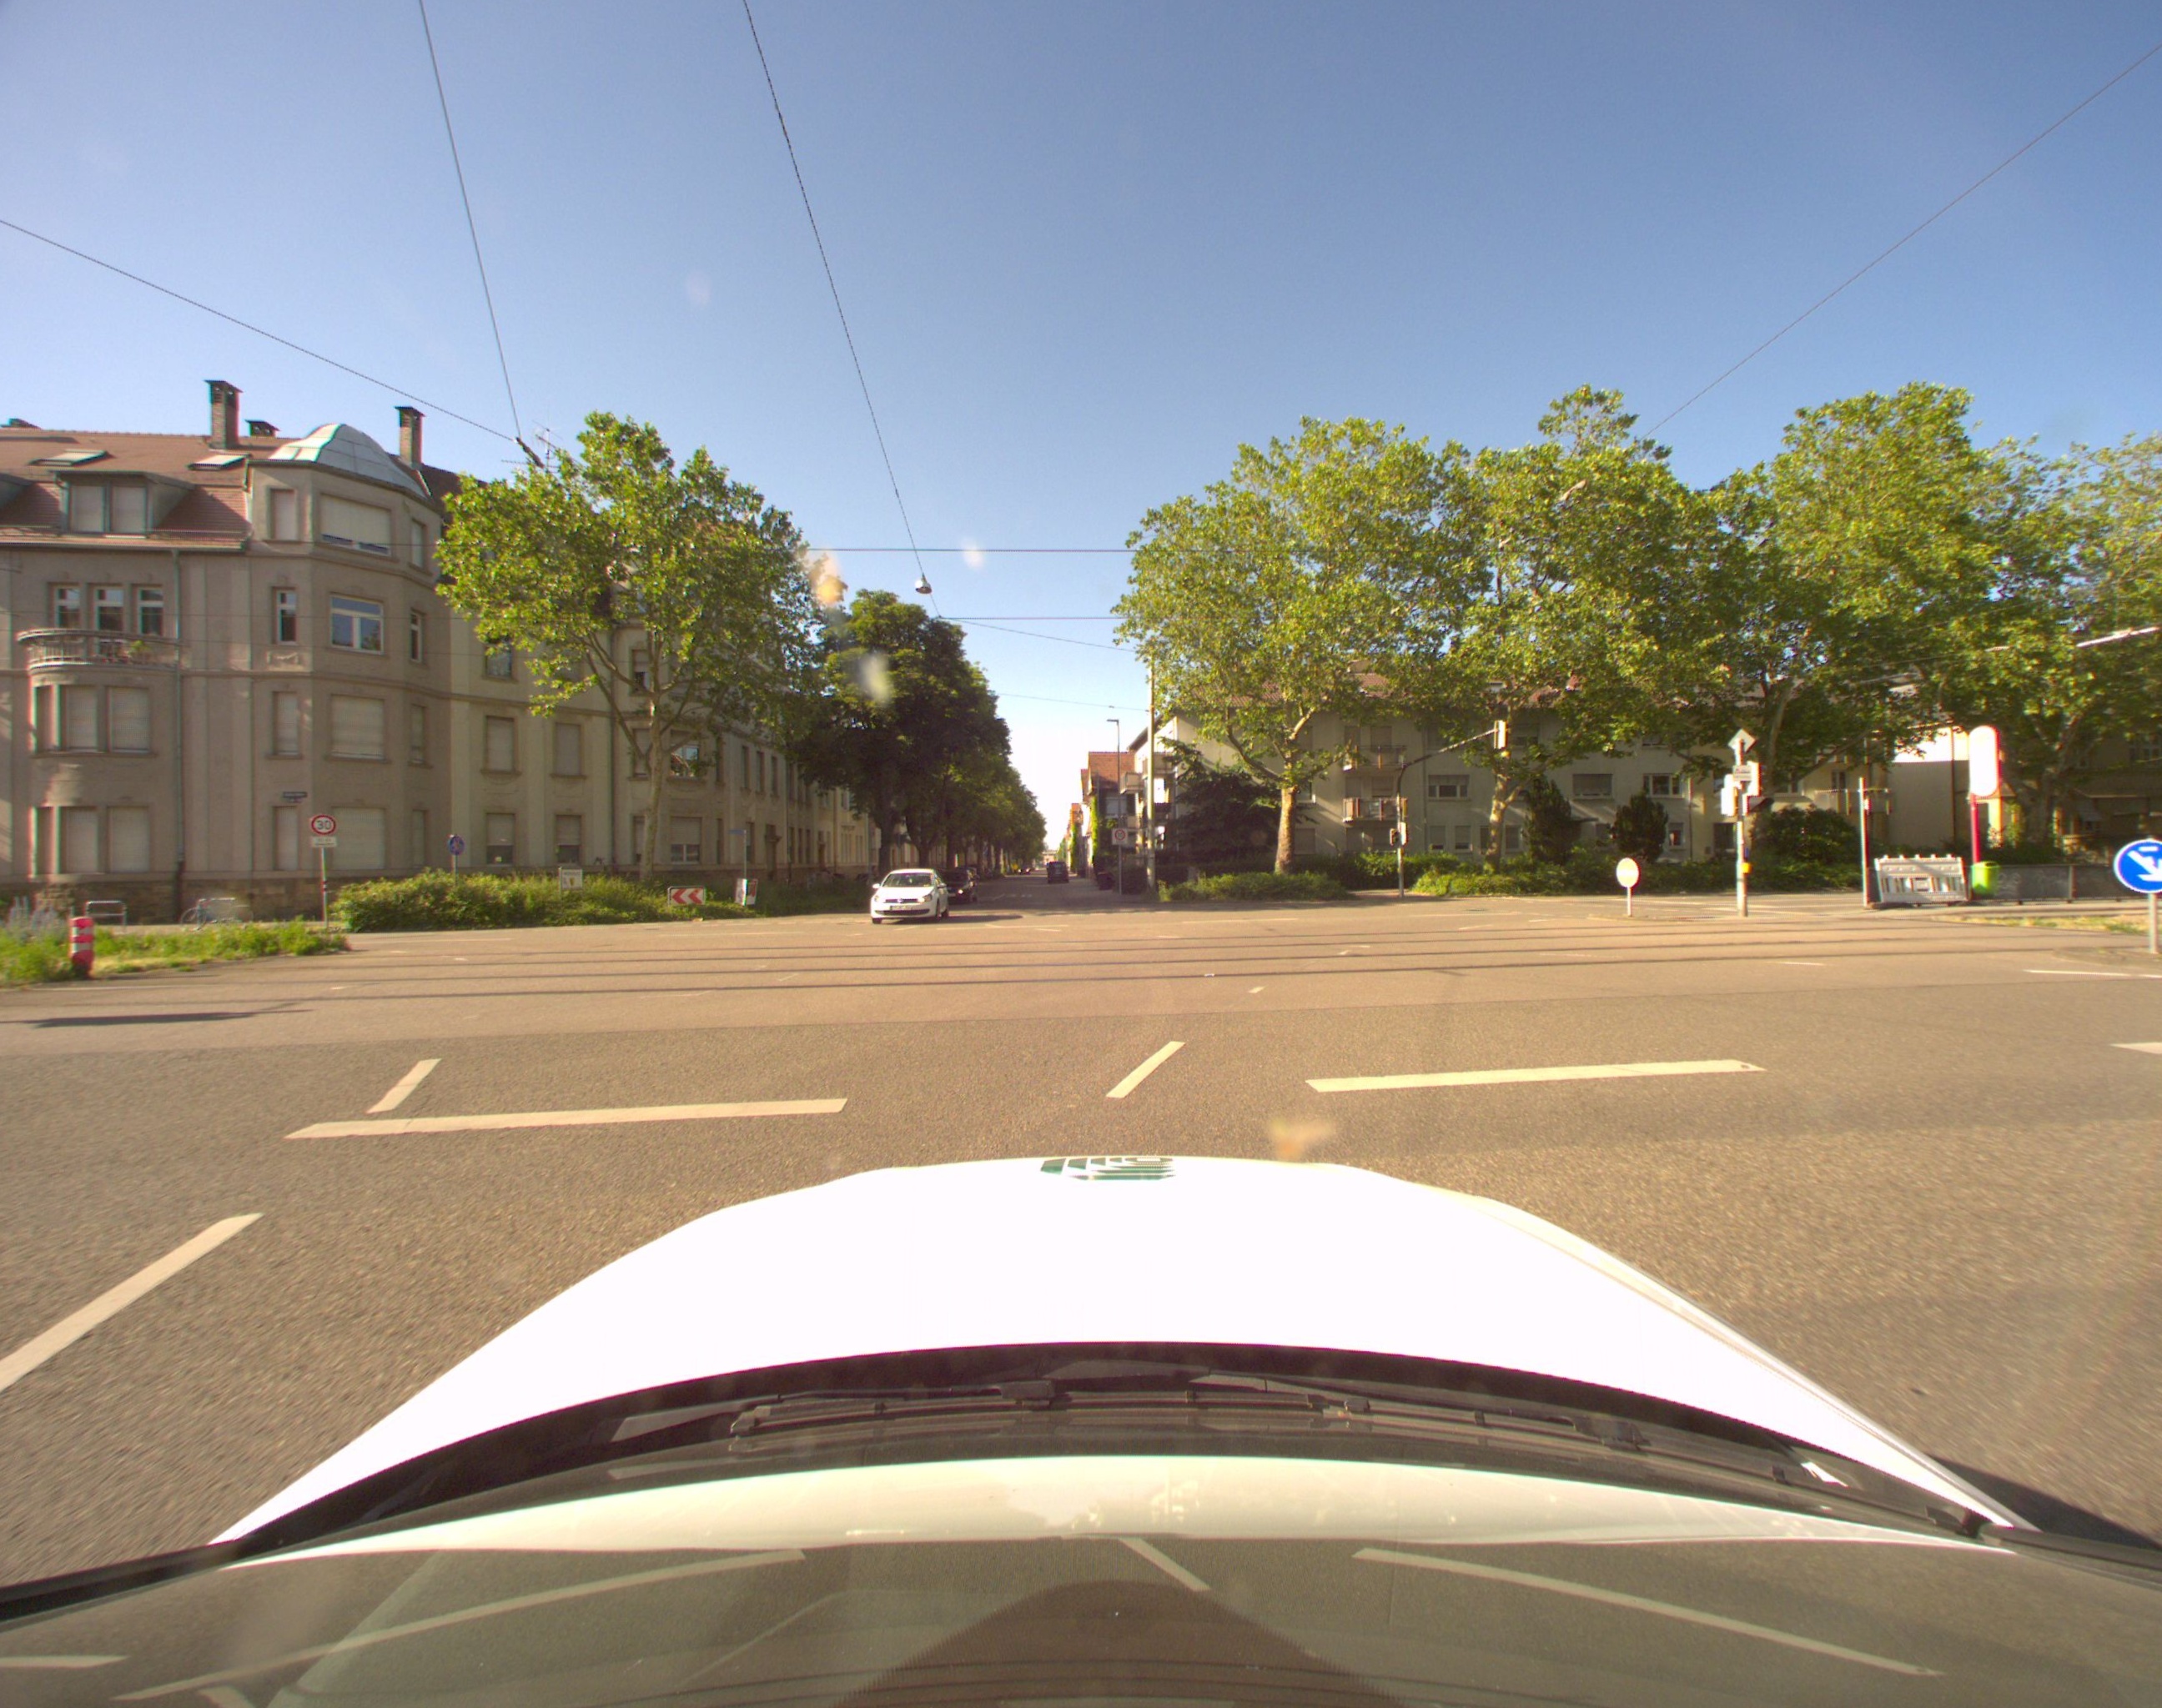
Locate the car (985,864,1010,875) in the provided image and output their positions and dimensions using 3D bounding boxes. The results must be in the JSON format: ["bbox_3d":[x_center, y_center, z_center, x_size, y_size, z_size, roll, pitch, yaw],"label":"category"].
[{"bbox_3d":[-13.346,2.509,129.956,3.982,1.761,1.794,1,-2,-6],"label":"car"}]

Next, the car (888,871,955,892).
[{"bbox_3d":[-10.619,1.841,54.500,4.202,1.349,1.701,0,-2,-3],"label":"car"}]

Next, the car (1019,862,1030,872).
[{"bbox_3d":[-8.857,2.096,127.757,1.637,1.508,3.698,-2,-1,-3],"label":"car"}]

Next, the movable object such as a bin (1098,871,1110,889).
[{"bbox_3d":[1.414,1.627,50.319,0.596,1.044,0.706,-5,-1,-5],"label":"movable object such as a bin"}]

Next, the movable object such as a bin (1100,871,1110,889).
[{"bbox_3d":[1.515,1.627,51.234,0.482,1.044,0.656,-5,-1,-5],"label":"movable object such as a bin"}]

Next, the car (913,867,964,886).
[{"bbox_3d":[-11.980,1.909,68.580,3.975,1.566,1.862,0,-1,-1],"label":"car"}]

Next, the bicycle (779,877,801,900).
[{"bbox_3d":[-15.737,1.869,44.051,0.512,1.154,1.981,1,0,-2],"label":"bicycle"}]

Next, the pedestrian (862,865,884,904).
[{"bbox_3d":[-9.129,1.333,35.816,0.690,1.682,0.682,-1,-1,8],"label":"pedestrian"}]

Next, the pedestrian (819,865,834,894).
[{"bbox_3d":[-14.580,1.436,46.667,0.457,1.658,0.896,-1,-1,6],"label":"pedestrian"}]

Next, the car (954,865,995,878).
[{"bbox_3d":[-12.399,2.009,94.970,4.522,1.503,1.889,0,-1,-4],"label":"car"}]

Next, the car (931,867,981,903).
[{"bbox_3d":[-5.464,1.342,36.020,1.656,1.464,3.806,-1,-1,-1],"label":"car"}]

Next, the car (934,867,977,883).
[{"bbox_3d":[-12.405,2.058,80.468,3.978,1.592,1.857,0,-1,-3],"label":"car"}]

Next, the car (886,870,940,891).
[{"bbox_3d":[-11.654,1.851,56.603,3.423,1.452,1.702,0,-2,0],"label":"car"}]

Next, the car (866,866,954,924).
[{"bbox_3d":[-4.745,1.127,23.098,1.802,1.458,3.995,-1,-2,-3],"label":"car"}]

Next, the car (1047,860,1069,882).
[{"bbox_3d":[-2.078,1.526,73.701,1.860,1.916,4.778,1,-1,-2],"label":"car"}]

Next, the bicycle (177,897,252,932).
[{"bbox_3d":[-23.993,1.679,22.572,1.432,0.905,0.496,-1,-1,-7],"label":"bicycle"}]

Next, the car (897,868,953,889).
[{"bbox_3d":[-12.265,1.917,64.143,3.975,1.508,1.721,-2,-1,-1],"label":"car"}]

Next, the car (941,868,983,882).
[{"bbox_3d":[-12.123,2.150,82.991,3.887,1.446,1.860,0,-1,2],"label":"car"}]
